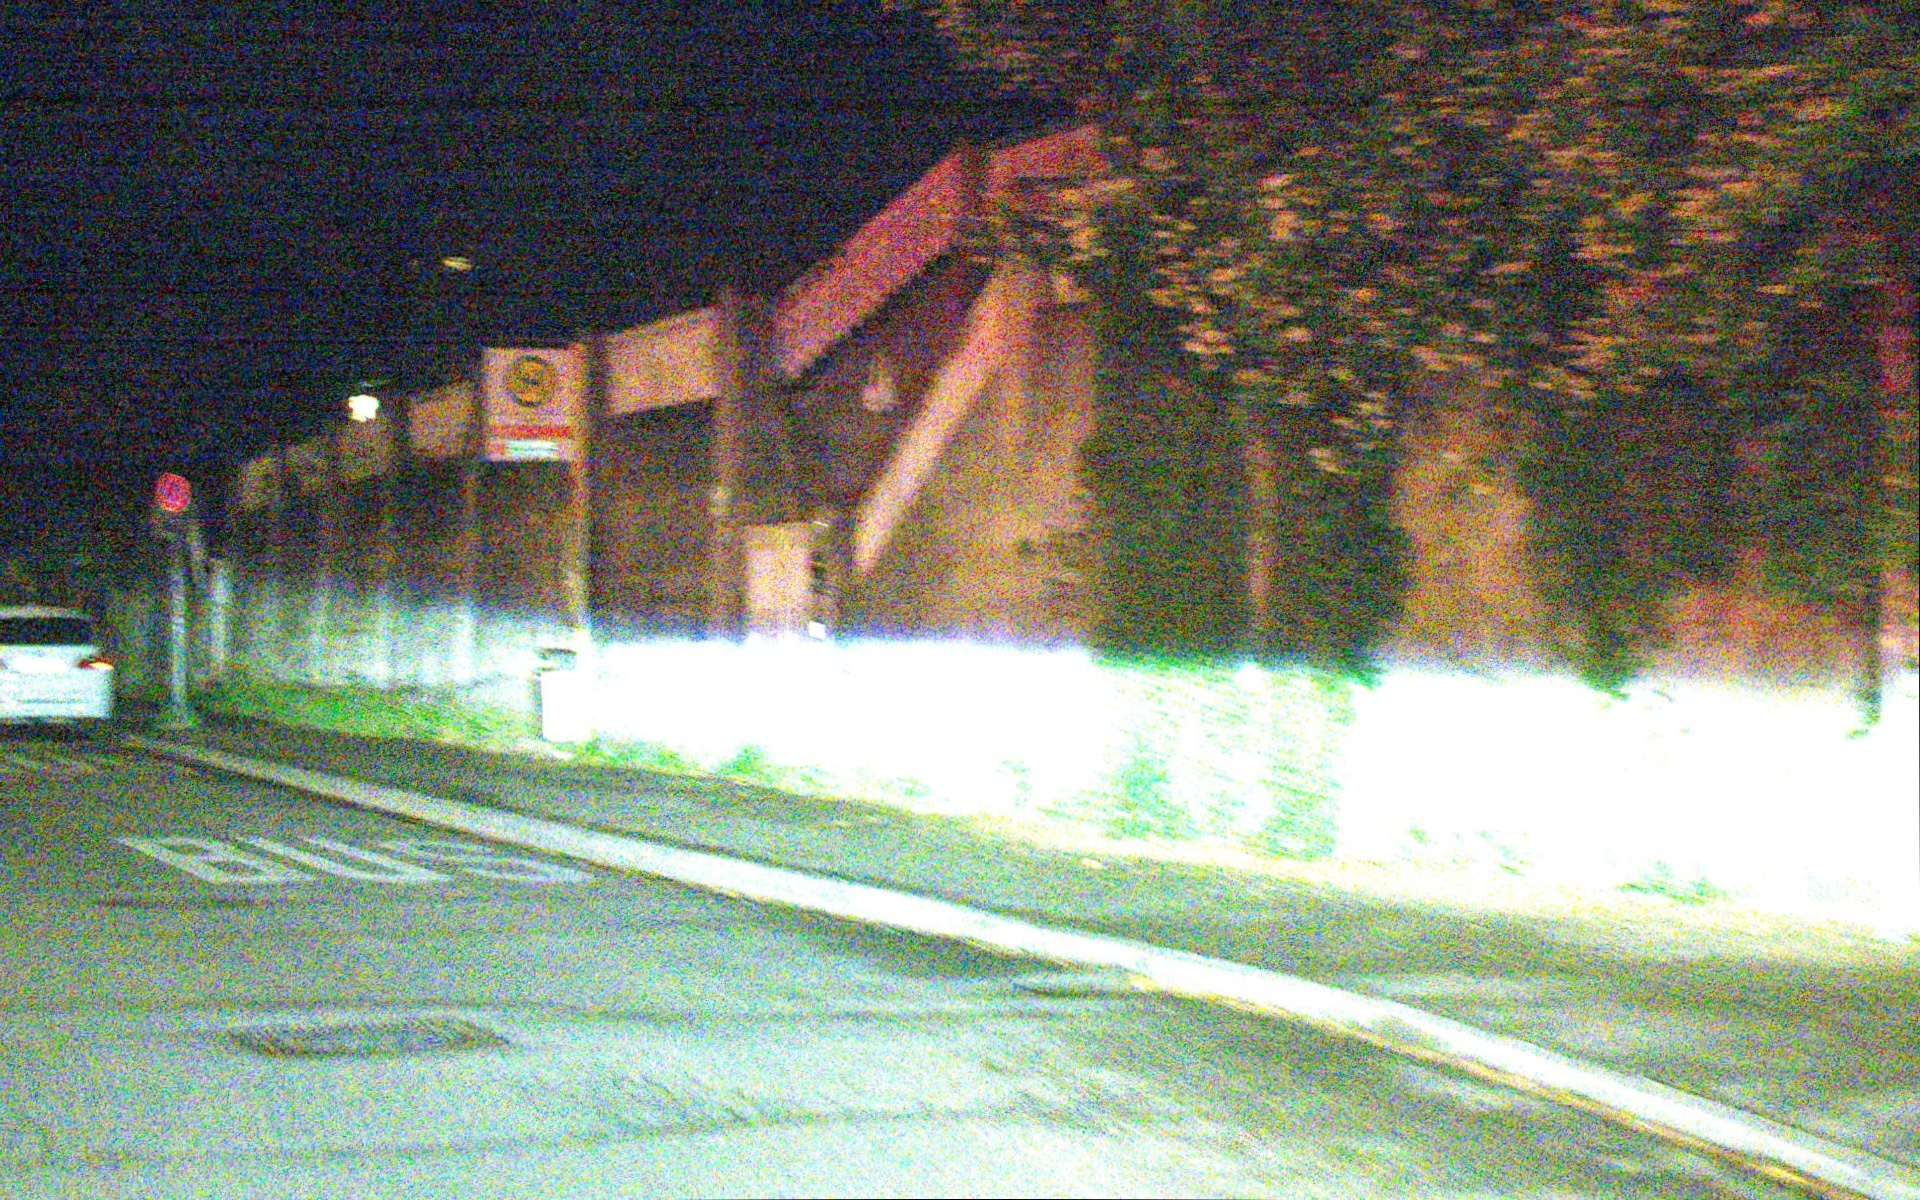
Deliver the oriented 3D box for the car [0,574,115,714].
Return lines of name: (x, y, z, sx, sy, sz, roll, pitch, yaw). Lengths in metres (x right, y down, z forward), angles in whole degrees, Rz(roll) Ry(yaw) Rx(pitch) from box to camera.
car: (-11.339, 0.505, 41.380, 1.754, 1.588, 4.729, 0, 0, -20)

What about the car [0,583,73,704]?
car: (-12.863, 0.560, 45.625, 1.608, 1.456, 3.718, -3, 2, -21)
